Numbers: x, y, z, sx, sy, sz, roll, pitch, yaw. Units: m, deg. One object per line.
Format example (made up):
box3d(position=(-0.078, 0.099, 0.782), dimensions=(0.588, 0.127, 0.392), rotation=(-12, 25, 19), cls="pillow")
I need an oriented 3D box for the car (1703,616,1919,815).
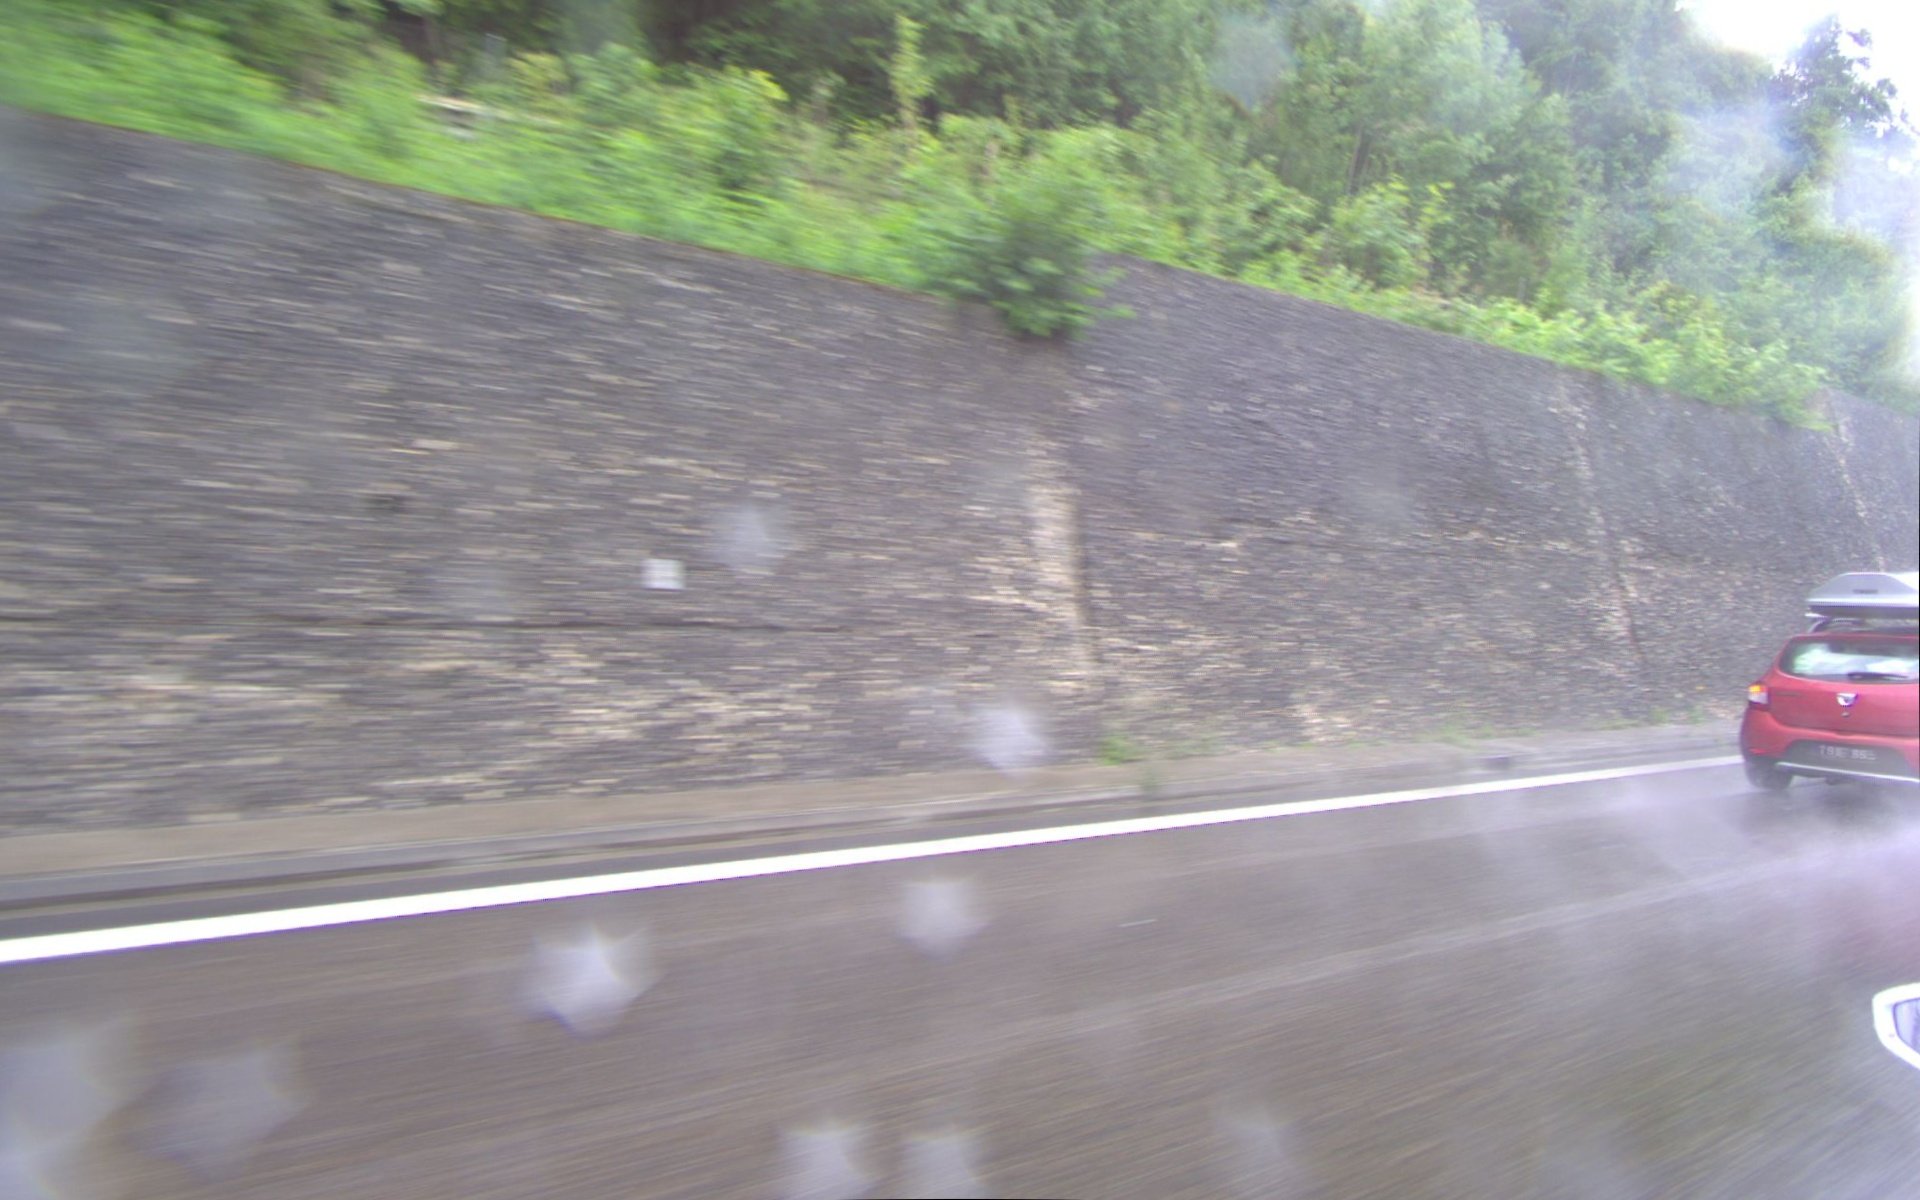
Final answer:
box3d(position=(9.049, 0.969, 9.448), dimensions=(3.955, 1.572, 1.983), rotation=(2, -1, -31), cls="car")
